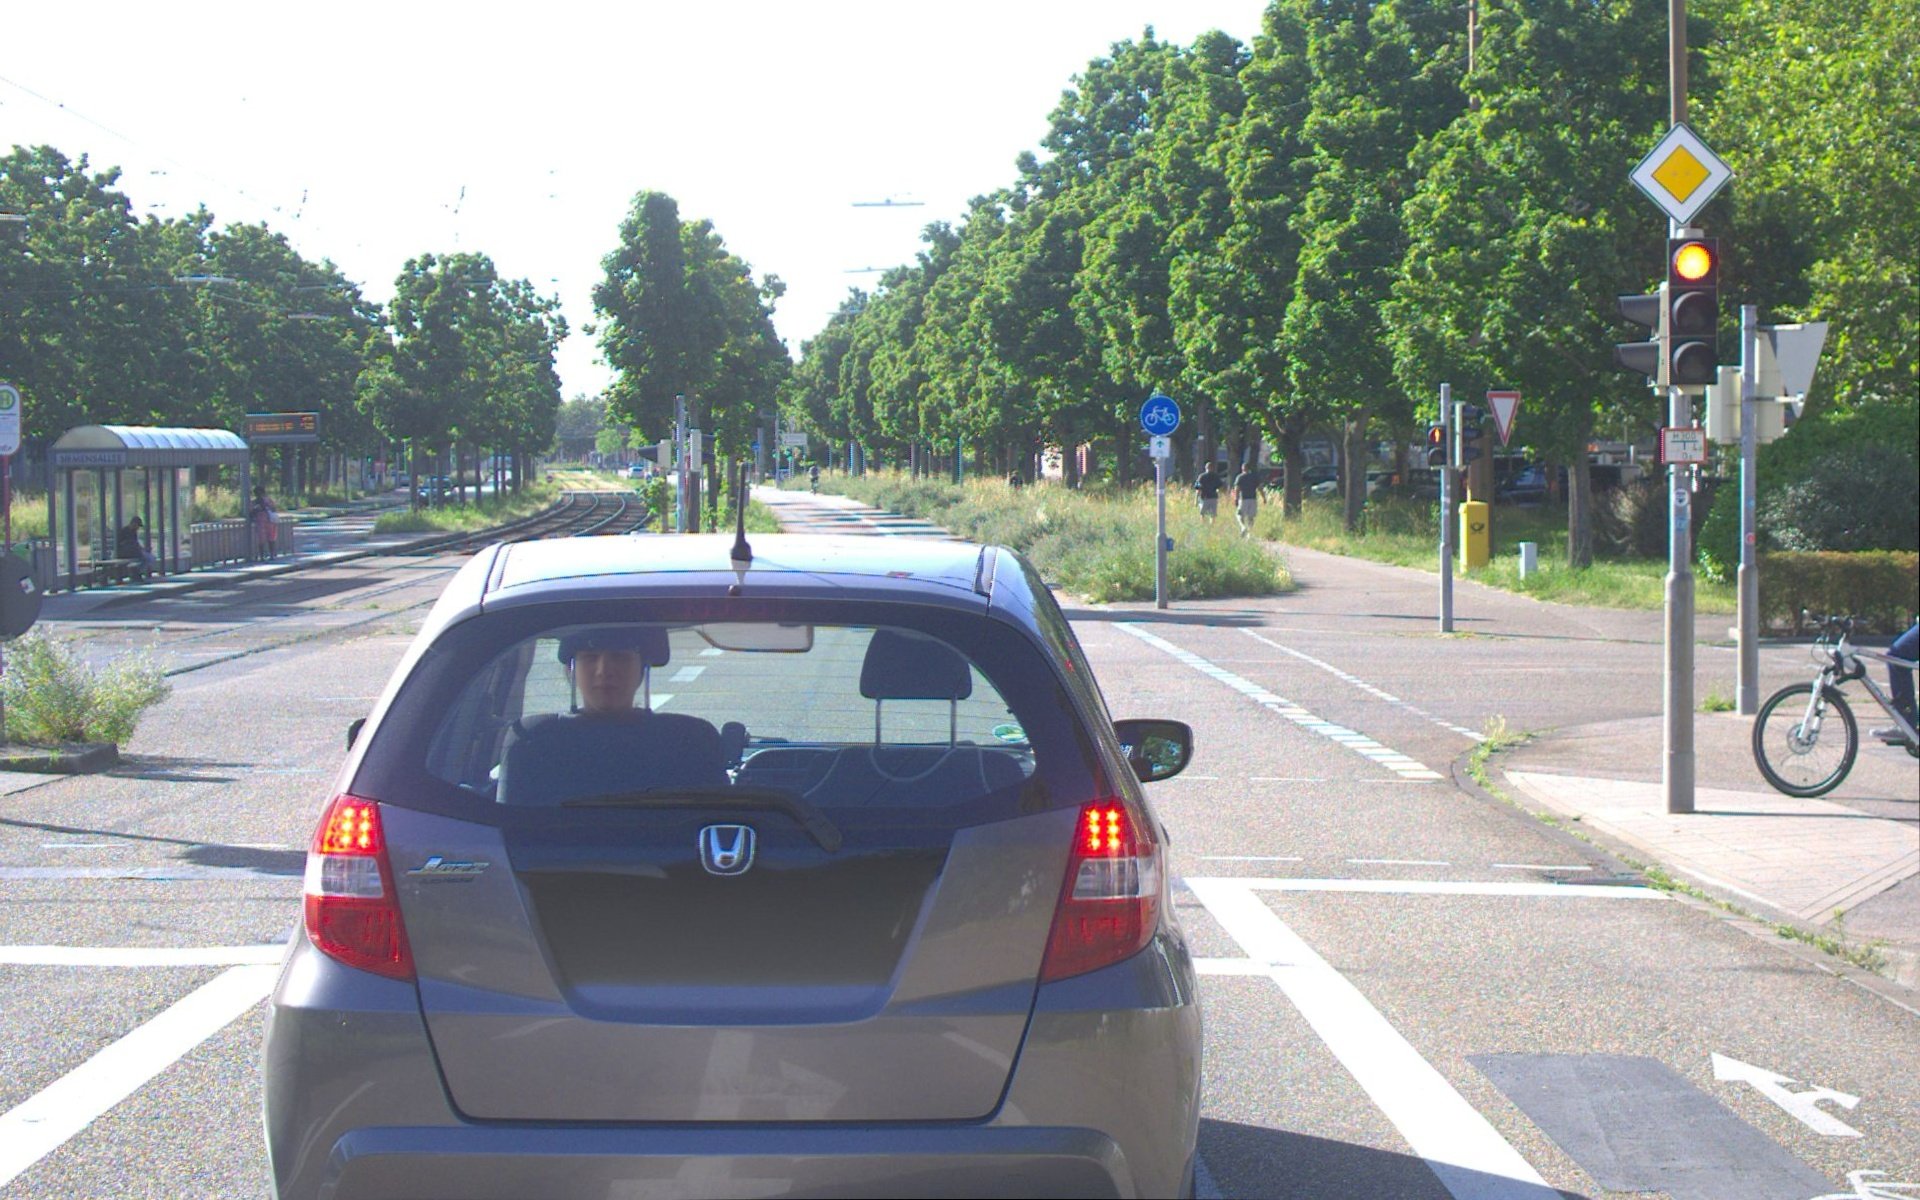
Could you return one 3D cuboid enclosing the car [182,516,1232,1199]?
[{"bbox_3d":[-0.418,0.582,7.625,1.707,1.503,4.000,1,1,0],"label":"car"}]

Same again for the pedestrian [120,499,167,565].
[{"bbox_3d":[-15.583,-1.303,65.616,0.721,1.241,0.711,-1,1,-2],"label":"pedestrian"}]

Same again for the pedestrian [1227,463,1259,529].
[{"bbox_3d":[6.975,-2.568,84.763,0.678,1.604,0.721,1,1,-3],"label":"pedestrian"}]

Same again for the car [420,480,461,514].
[{"bbox_3d":[-27.739,-5.488,183.761,1.766,1.732,4.001,0,1,-3],"label":"car"}]

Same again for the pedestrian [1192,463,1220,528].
[{"bbox_3d":[6.049,-2.569,84.690,0.567,1.591,0.666,1,1,-4],"label":"pedestrian"}]

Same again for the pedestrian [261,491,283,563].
[{"bbox_3d":[-16.035,-1.696,80.145,0.502,1.670,0.388,0,1,-12],"label":"pedestrian"}]

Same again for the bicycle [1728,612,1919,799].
[{"bbox_3d":[5.353,0.578,19.424,1.921,0.994,0.764,-2,1,10],"label":"bicycle"}]

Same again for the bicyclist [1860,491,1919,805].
[{"bbox_3d":[5.591,0.255,19.378,0.910,1.739,0.764,-1,1,10],"label":"bicyclist"}]
